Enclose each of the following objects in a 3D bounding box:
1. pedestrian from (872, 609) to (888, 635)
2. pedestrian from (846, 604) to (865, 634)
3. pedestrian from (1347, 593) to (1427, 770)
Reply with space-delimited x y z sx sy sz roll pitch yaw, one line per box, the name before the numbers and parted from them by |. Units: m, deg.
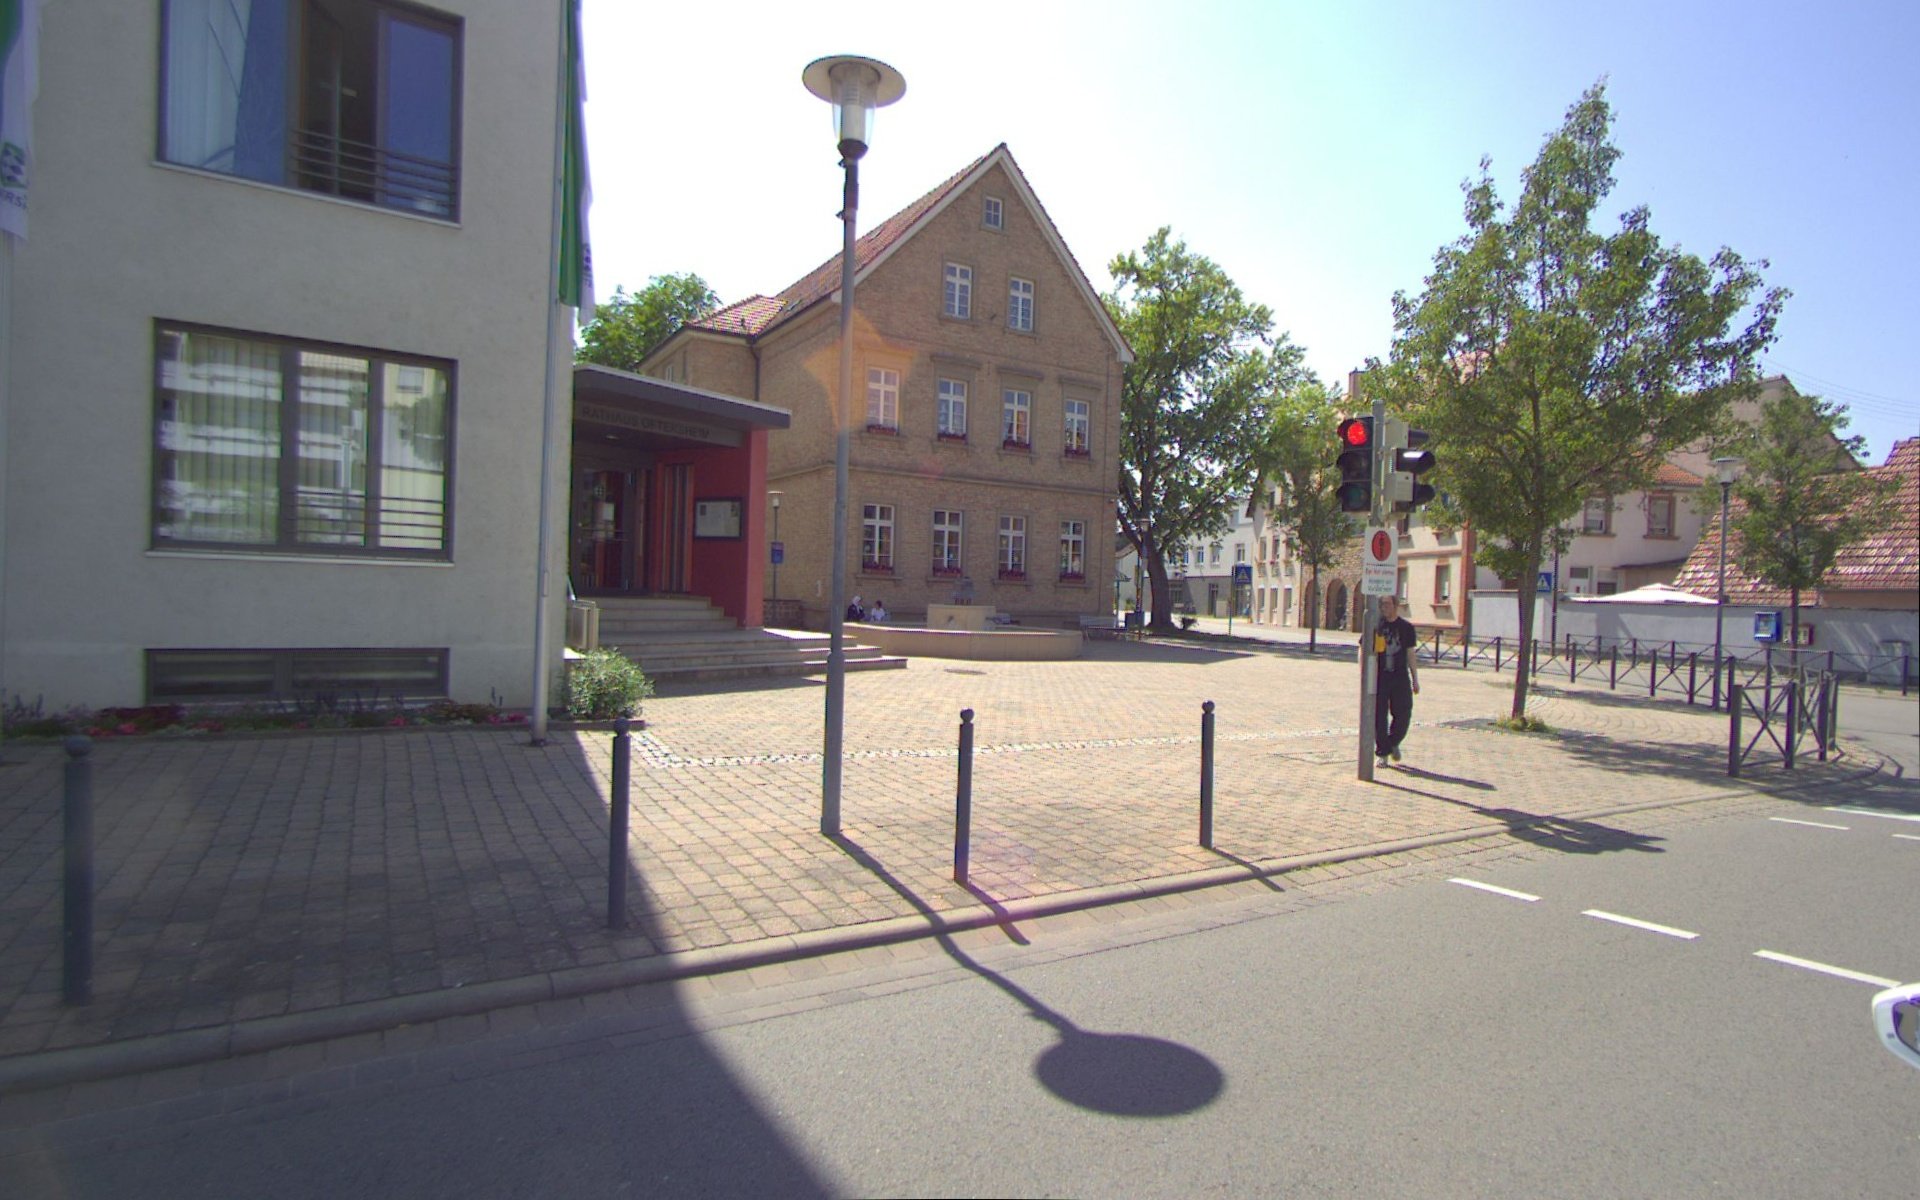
pedestrian | -2.301 0.623 28.886 0.352 0.742 0.288 2 0 43
pedestrian | -2.954 0.543 28.391 0.356 0.828 0.365 2 0 42
pedestrian | 4.145 0.768 9.779 0.546 1.640 0.550 3 0 11
